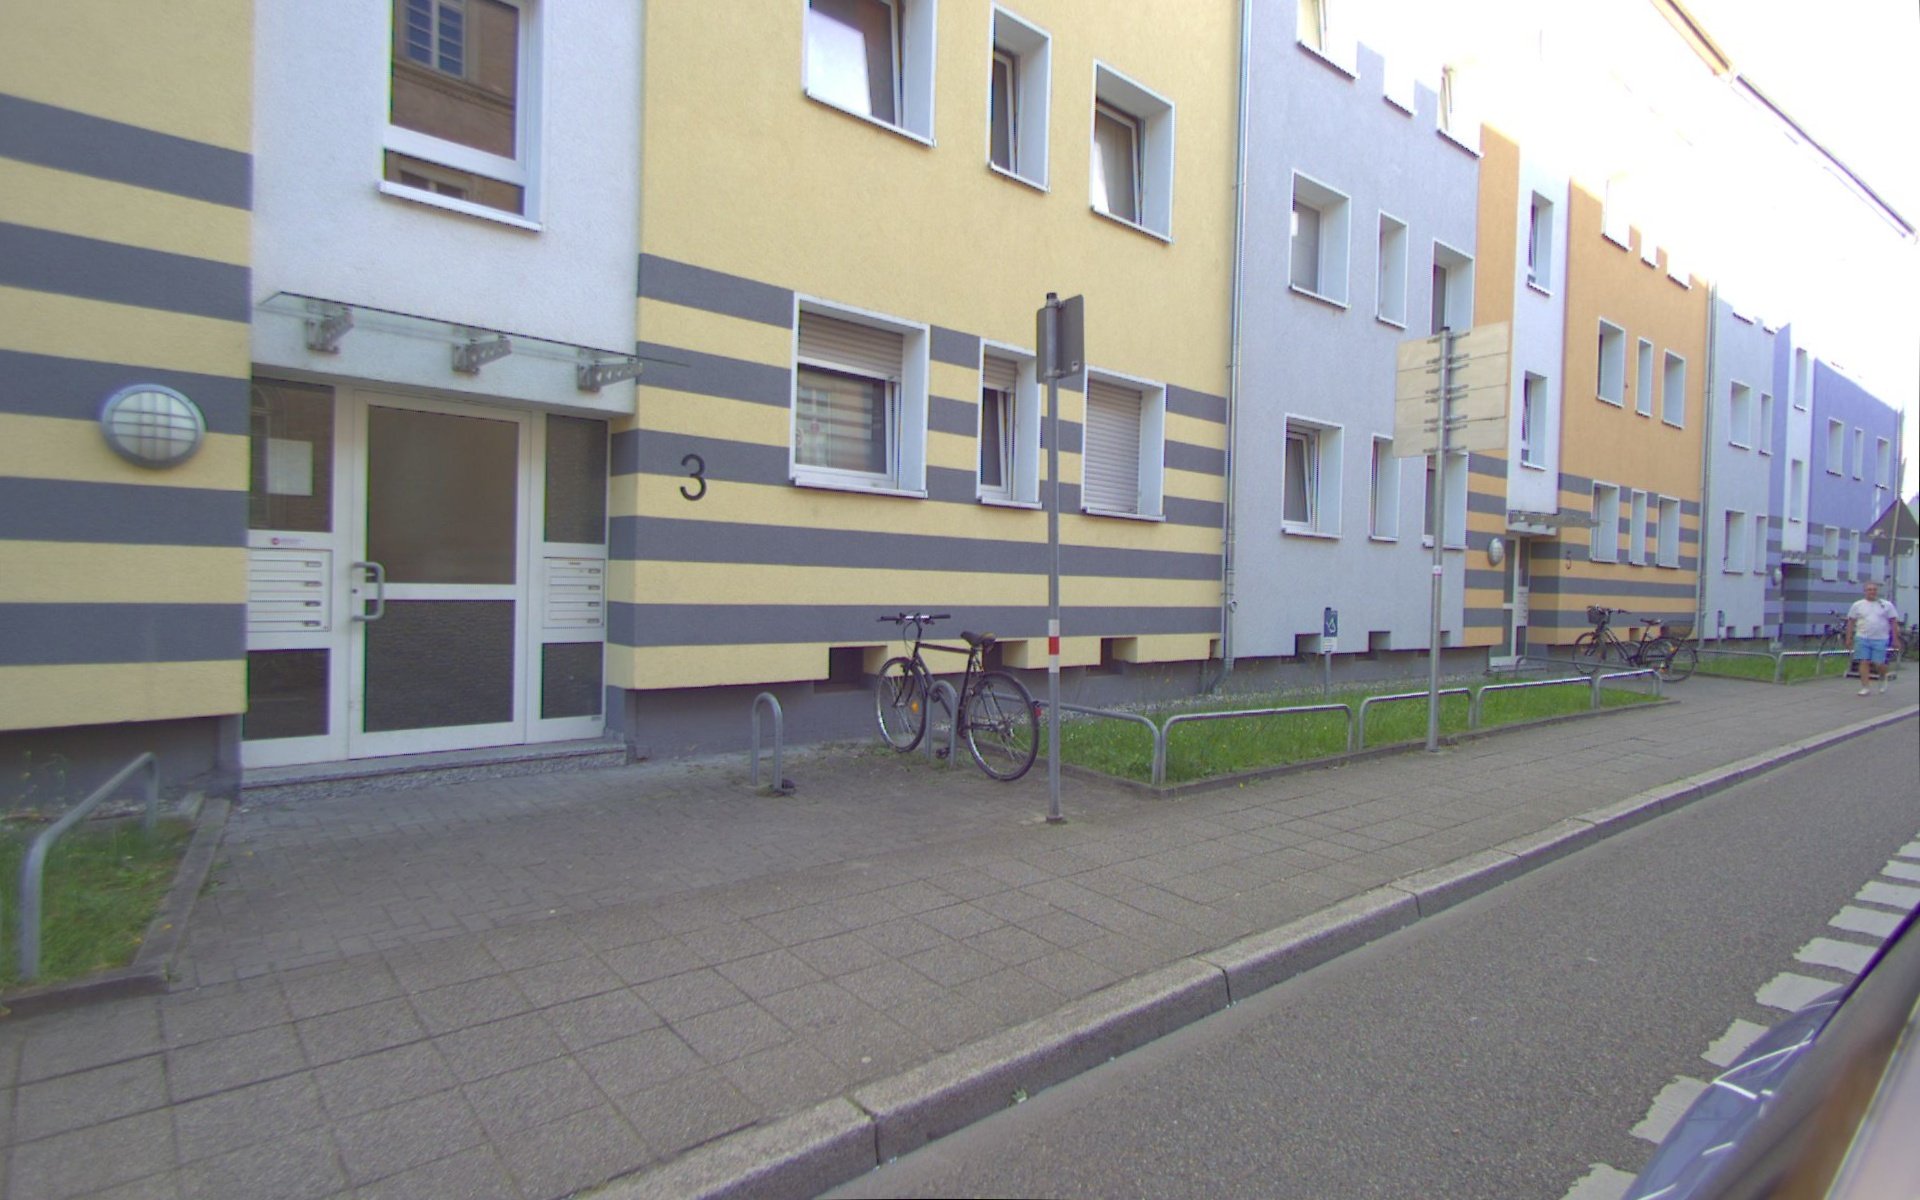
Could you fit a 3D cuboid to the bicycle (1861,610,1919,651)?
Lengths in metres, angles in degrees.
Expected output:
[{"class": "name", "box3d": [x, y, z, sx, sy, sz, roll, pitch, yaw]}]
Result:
[{"class": "bicycle", "box3d": [24.061, 0.793, 25.600, 0.572, 0.950, 1.779, 1, 3, -33]}]

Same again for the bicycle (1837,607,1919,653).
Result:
[{"class": "bicycle", "box3d": [23.358, 0.737, 25.492, 0.572, 1.007, 1.779, 1, 3, -33]}]

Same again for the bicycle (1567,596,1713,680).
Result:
[{"class": "bicycle", "box3d": [10.696, 0.568, 15.964, 0.574, 1.138, 1.775, 0, 4, -42]}]

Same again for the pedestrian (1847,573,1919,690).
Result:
[{"class": "pedestrian", "box3d": [13.940, 0.459, 15.266, 0.819, 1.692, 0.644, 1, 2, -39]}]

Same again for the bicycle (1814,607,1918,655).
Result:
[{"class": "bicycle", "box3d": [22.195, 0.733, 24.822, 0.572, 1.007, 1.779, 1, 3, -33]}]

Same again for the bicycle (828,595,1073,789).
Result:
[{"class": "bicycle", "box3d": [-0.116, 0.555, 6.942, 1.773, 1.061, 0.574, 5, 4, 45]}]
